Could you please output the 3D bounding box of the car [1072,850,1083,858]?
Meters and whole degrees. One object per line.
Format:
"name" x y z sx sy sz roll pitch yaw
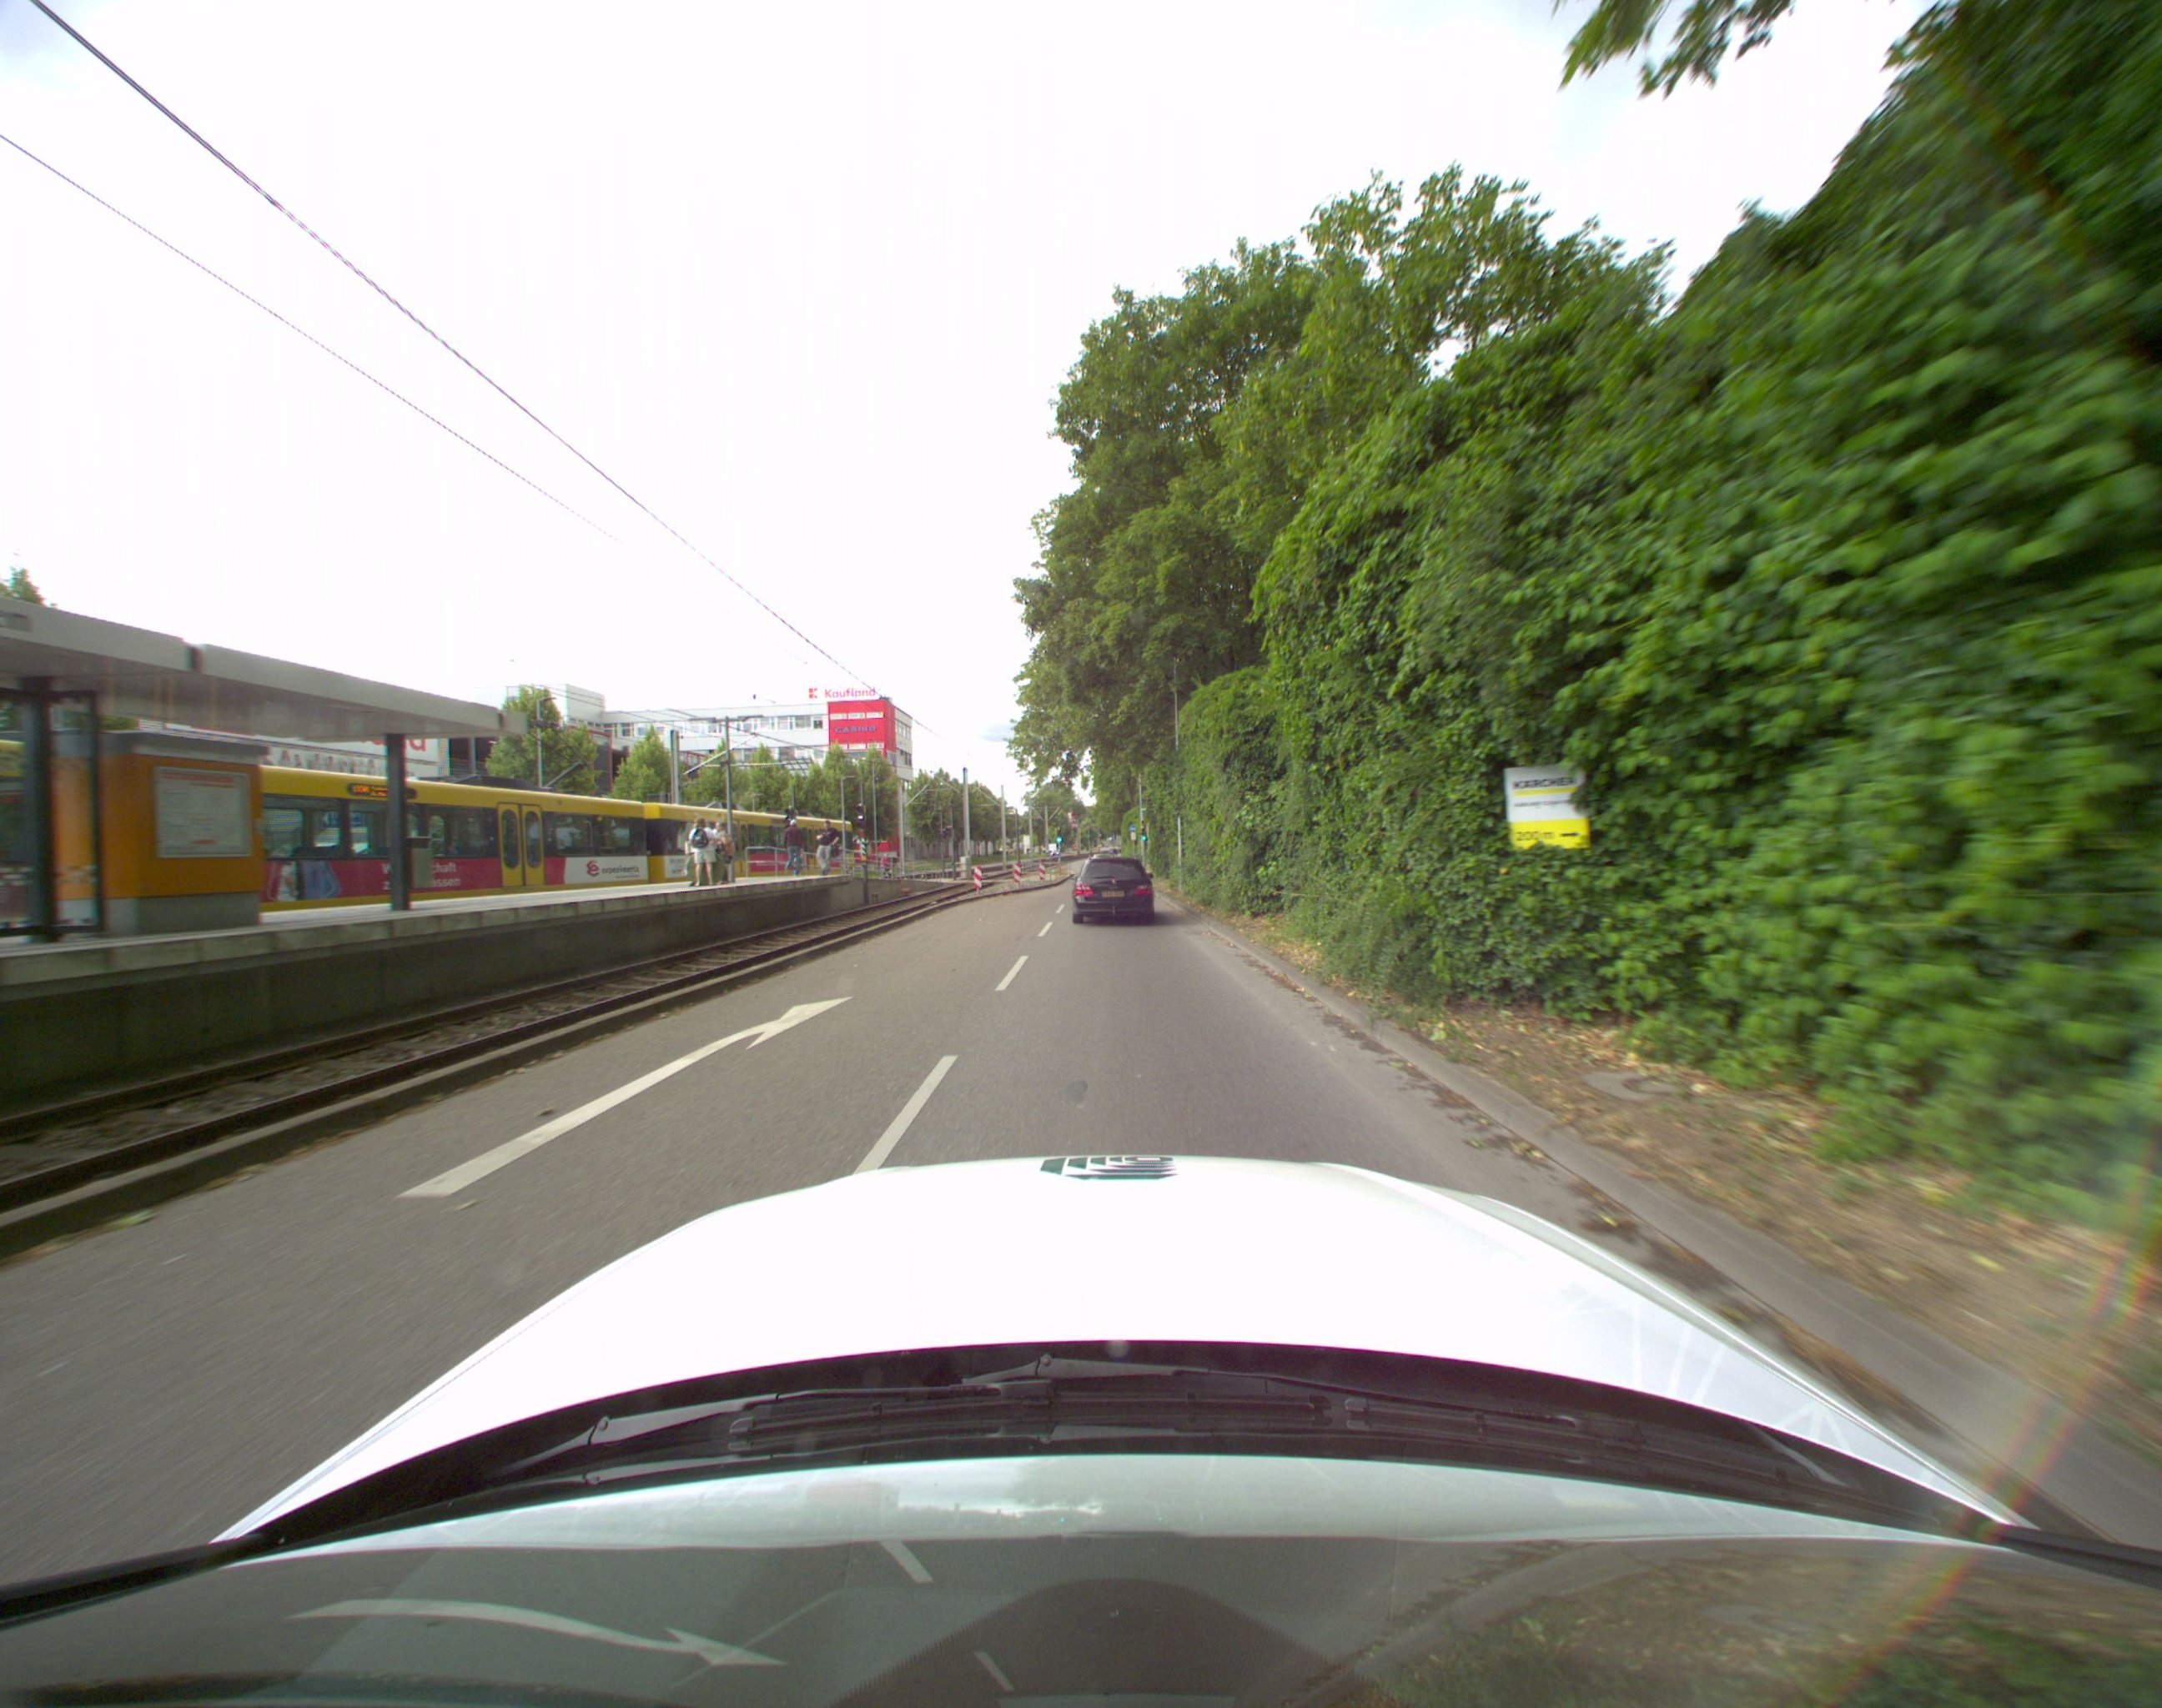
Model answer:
"car" -0.630 -0.004 151.385 1.817 1.530 3.931 -1 0 4

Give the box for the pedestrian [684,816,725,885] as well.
"pedestrian" -8.260 -0.085 17.860 0.514 1.482 0.585 -4 0 40

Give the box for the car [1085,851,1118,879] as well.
"car" 1.226 0.614 48.320 1.818 1.530 4.417 -1 0 1

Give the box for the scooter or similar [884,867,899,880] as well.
"scooter or similar" -11.630 1.182 50.035 0.491 0.768 0.803 -3 0 23

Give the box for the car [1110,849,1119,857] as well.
"car" 6.840 -0.254 166.508 1.817 1.530 4.420 -2 0 4

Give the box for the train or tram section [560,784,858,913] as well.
"train or tram section" -14.129 -0.177 34.606 2.744 3.828 18.650 -4 0 4

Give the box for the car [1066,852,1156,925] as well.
"car" 0.730 0.711 18.967 1.826 1.478 4.419 -1 0 3

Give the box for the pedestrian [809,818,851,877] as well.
"pedestrian" -7.510 -0.198 24.405 0.881 1.678 0.736 -3 0 -45

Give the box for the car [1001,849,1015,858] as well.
"car" -15.819 -0.098 175.812 1.983 1.743 4.996 -3 0 6

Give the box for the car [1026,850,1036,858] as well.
"car" -12.678 0.045 206.042 1.986 2.013 4.001 -3 0 2

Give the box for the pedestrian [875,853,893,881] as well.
"pedestrian" -12.166 0.778 50.256 0.607 1.654 0.800 -3 0 23

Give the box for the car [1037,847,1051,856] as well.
"car" -10.317 -0.681 227.650 3.978 2.123 1.998 -3 0 -3

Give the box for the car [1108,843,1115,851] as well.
"car" 9.093 -2.029 240.254 1.884 2.013 3.900 -3 0 2

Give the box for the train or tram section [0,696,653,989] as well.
"train or tram section" -15.330 -0.102 15.983 2.744 3.882 18.649 -4 0 4

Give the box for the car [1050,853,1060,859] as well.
"car" -5.906 0.449 182.183 1.651 1.393 3.726 -1 0 7

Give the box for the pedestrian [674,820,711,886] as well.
"pedestrian" -8.979 -0.032 18.849 0.473 1.483 0.543 -3 0 6

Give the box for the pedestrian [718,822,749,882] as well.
"pedestrian" -8.391 -0.058 19.683 0.477 1.405 0.411 -3 0 0

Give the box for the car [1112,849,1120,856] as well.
"car" 7.949 -0.240 184.997 1.817 1.530 3.931 -1 0 4

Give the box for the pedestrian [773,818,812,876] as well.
"pedestrian" -8.673 -0.217 24.479 0.768 1.678 0.791 -3 0 2

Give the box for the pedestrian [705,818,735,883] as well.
"pedestrian" -8.399 -0.085 18.963 0.359 1.464 0.639 -2 0 1

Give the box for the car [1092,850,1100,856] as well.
"car" 3.556 -0.257 195.541 1.817 1.530 3.990 -1 0 4
